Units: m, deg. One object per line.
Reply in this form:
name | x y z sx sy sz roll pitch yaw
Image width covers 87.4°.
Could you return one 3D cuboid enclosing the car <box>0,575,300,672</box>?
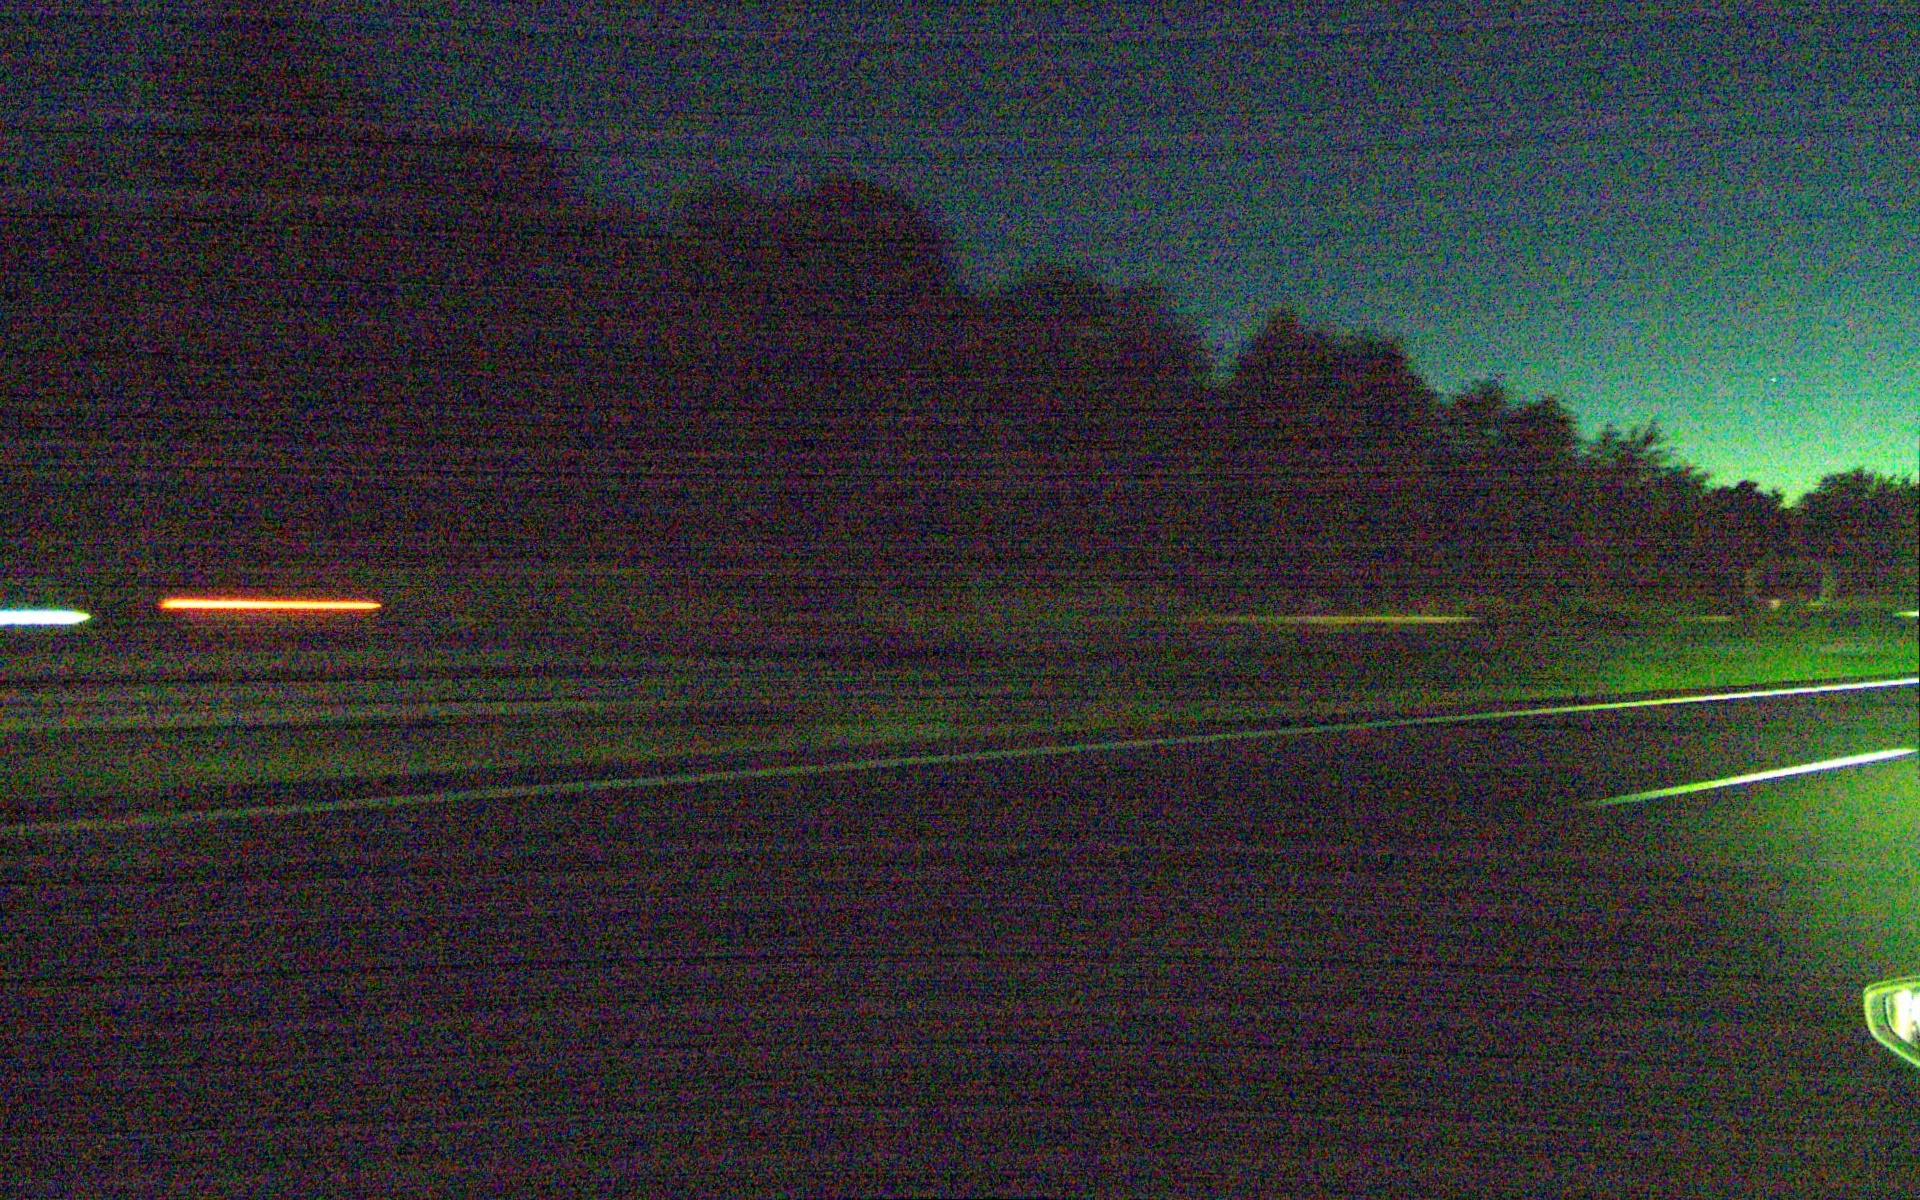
car | -14.182 0.398 17.648 4.269 1.528 1.982 1 0 -33
